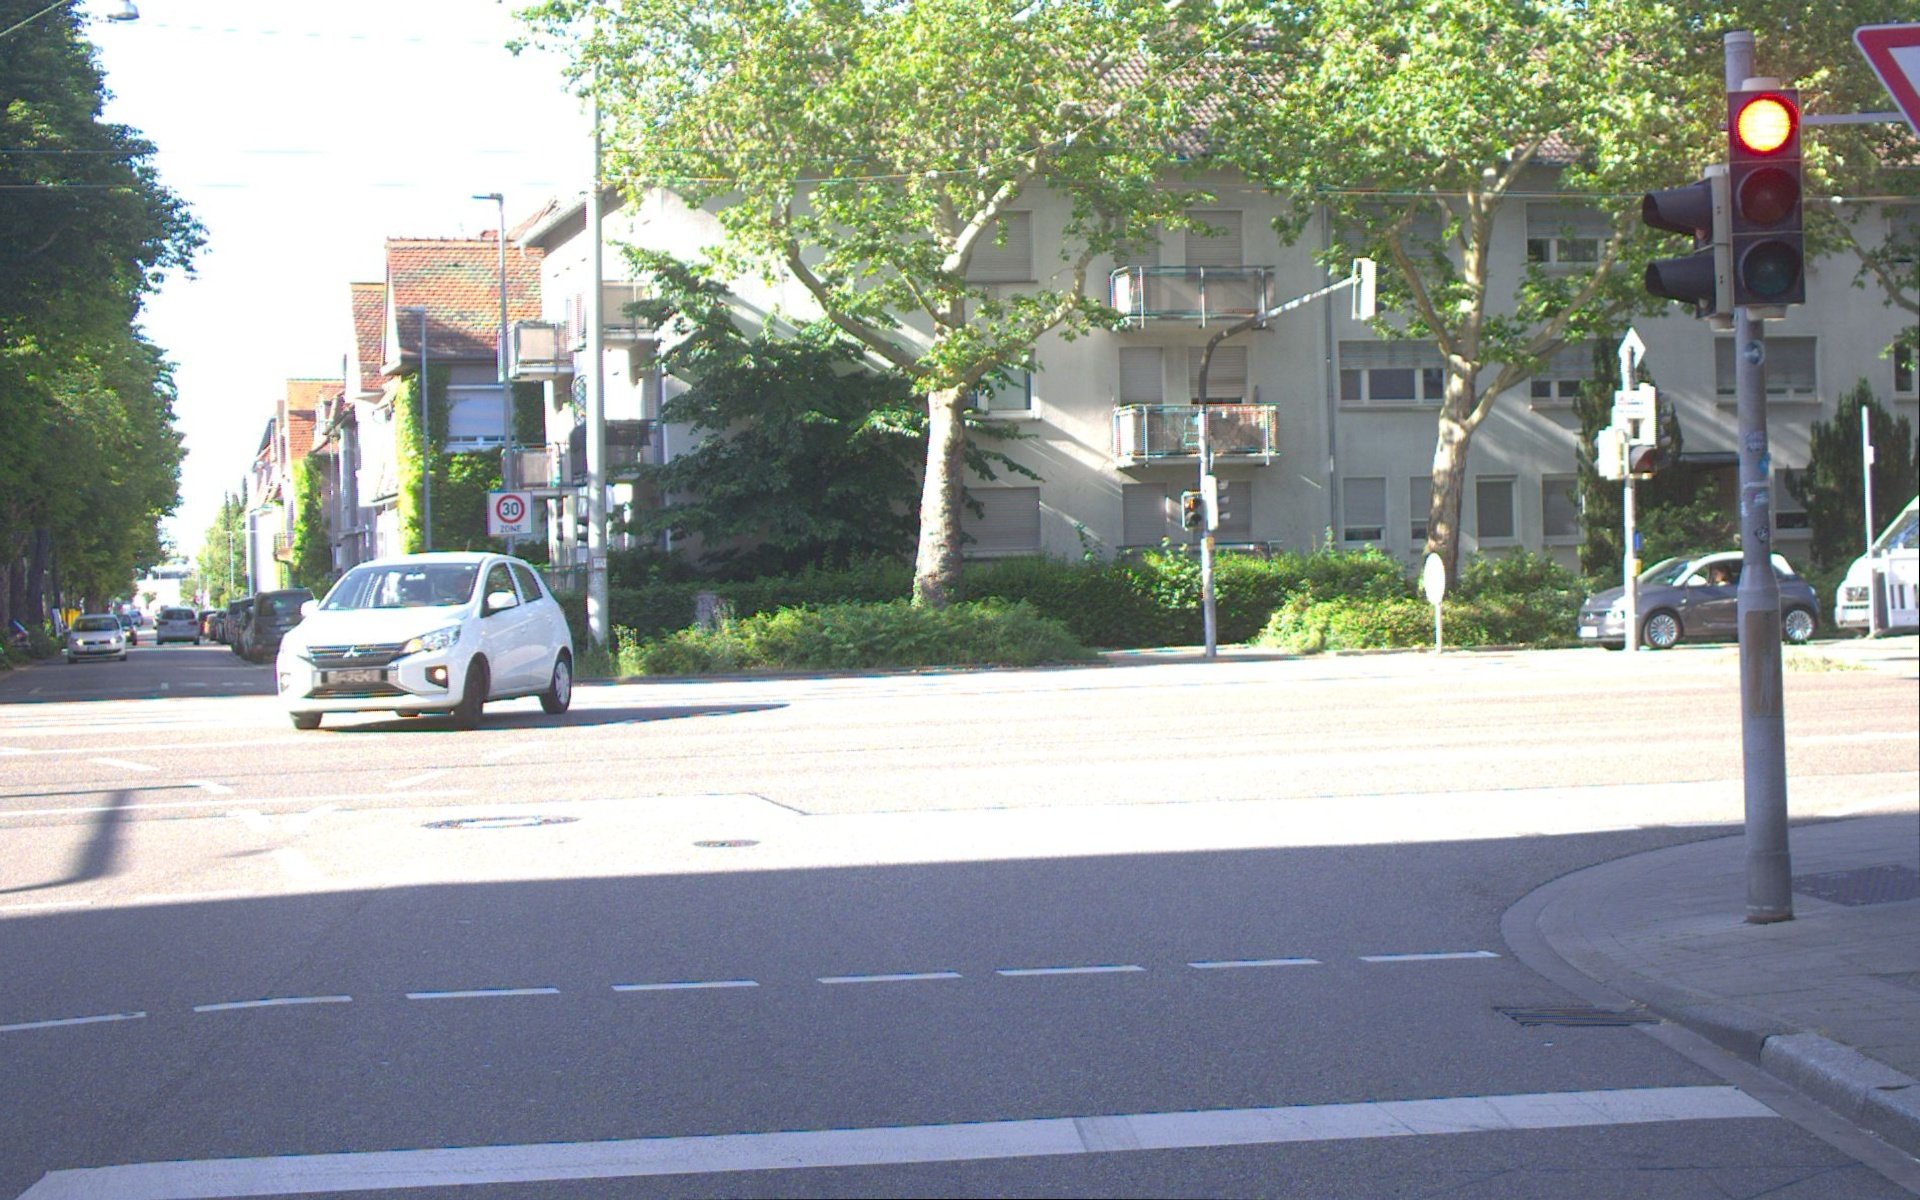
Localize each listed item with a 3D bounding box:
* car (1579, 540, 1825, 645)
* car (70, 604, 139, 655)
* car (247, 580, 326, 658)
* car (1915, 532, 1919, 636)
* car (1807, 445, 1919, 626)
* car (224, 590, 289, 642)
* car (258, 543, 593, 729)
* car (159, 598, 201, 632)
[{"bbox_3d":[11.350,-0.126,52.593,3.379,1.482,1.525,-2,1,-22],"label":"car"},{"bbox_3d":[-26.501,0.890,106.406,1.993,1.441,4.001,-2,1,-15],"label":"car"},{"bbox_3d":[-18.544,0.506,94.730,1.993,2.007,4.001,-2,1,-10],"label":"car"},{"bbox_3d":[15.514,-0.288,47.811,3.986,1.446,1.659,-2,1,-17],"label":"car"},{"bbox_3d":[15.735,-1.025,50.800,6.039,2.559,2.001,-2,1,-18],"label":"car"},{"bbox_3d":[-25.663,0.569,125.365,1.993,1.826,4.001,-1,0,-16],"label":"car"},{"bbox_3d":[-4.604,0.270,30.156,1.625,1.467,3.798,-2,1,12],"label":"car"},{"bbox_3d":[-34.524,0.662,152.138,1.673,1.477,3.523,-1,0,-11],"label":"car"}]
